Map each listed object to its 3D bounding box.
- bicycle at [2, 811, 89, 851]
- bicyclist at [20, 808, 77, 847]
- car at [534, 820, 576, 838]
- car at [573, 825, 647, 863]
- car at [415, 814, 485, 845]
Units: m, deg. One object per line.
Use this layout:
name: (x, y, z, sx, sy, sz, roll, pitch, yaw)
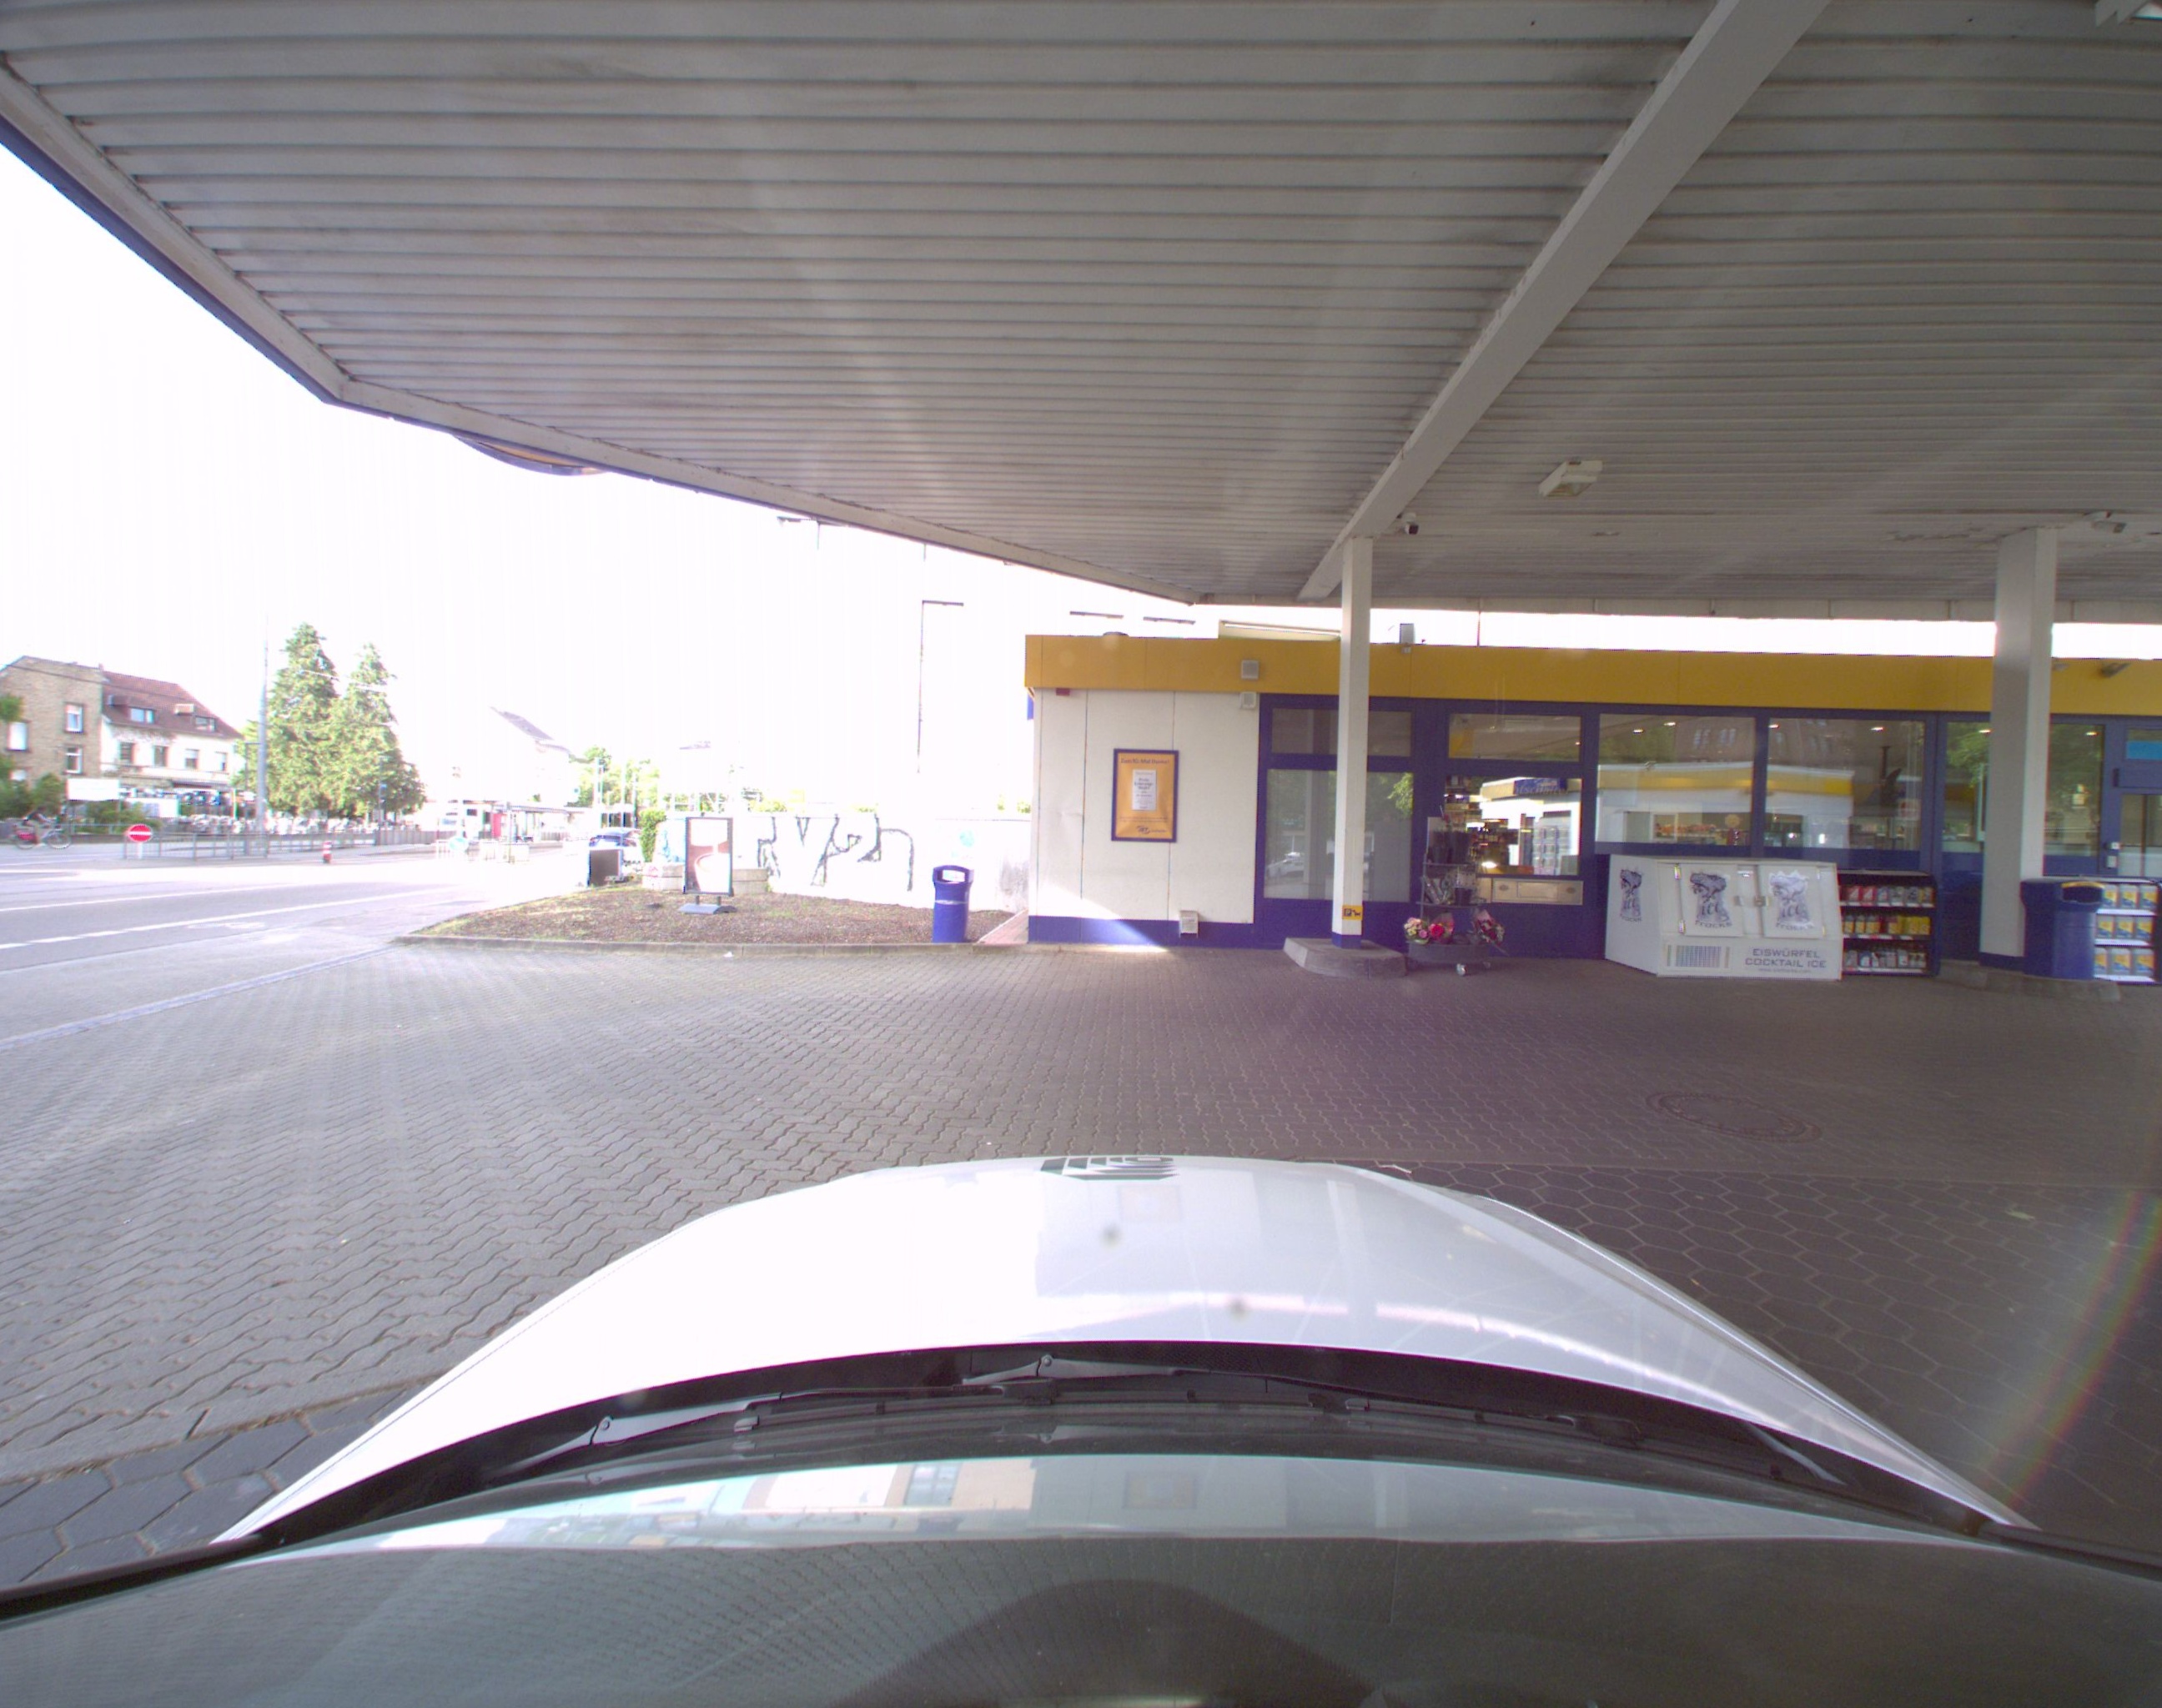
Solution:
bicycle: (-41.254, -0.905, 32.496, 0.783, 1.492, 1.993, 4, 0, 3)
bicyclist: (-41.236, -1.039, 32.540, 0.783, 1.492, 1.097, 4, 0, 2)
car: (-47.482, -2.260, 73.576, 1.838, 1.576, 4.361, 0, 2, -14)
car: (-22.366, -0.478, 38.889, 1.767, 1.657, 4.828, 2, 0, -14)
car: (-43.013, -1.657, 55.682, 1.996, 1.968, 4.866, 1, 2, -14)
